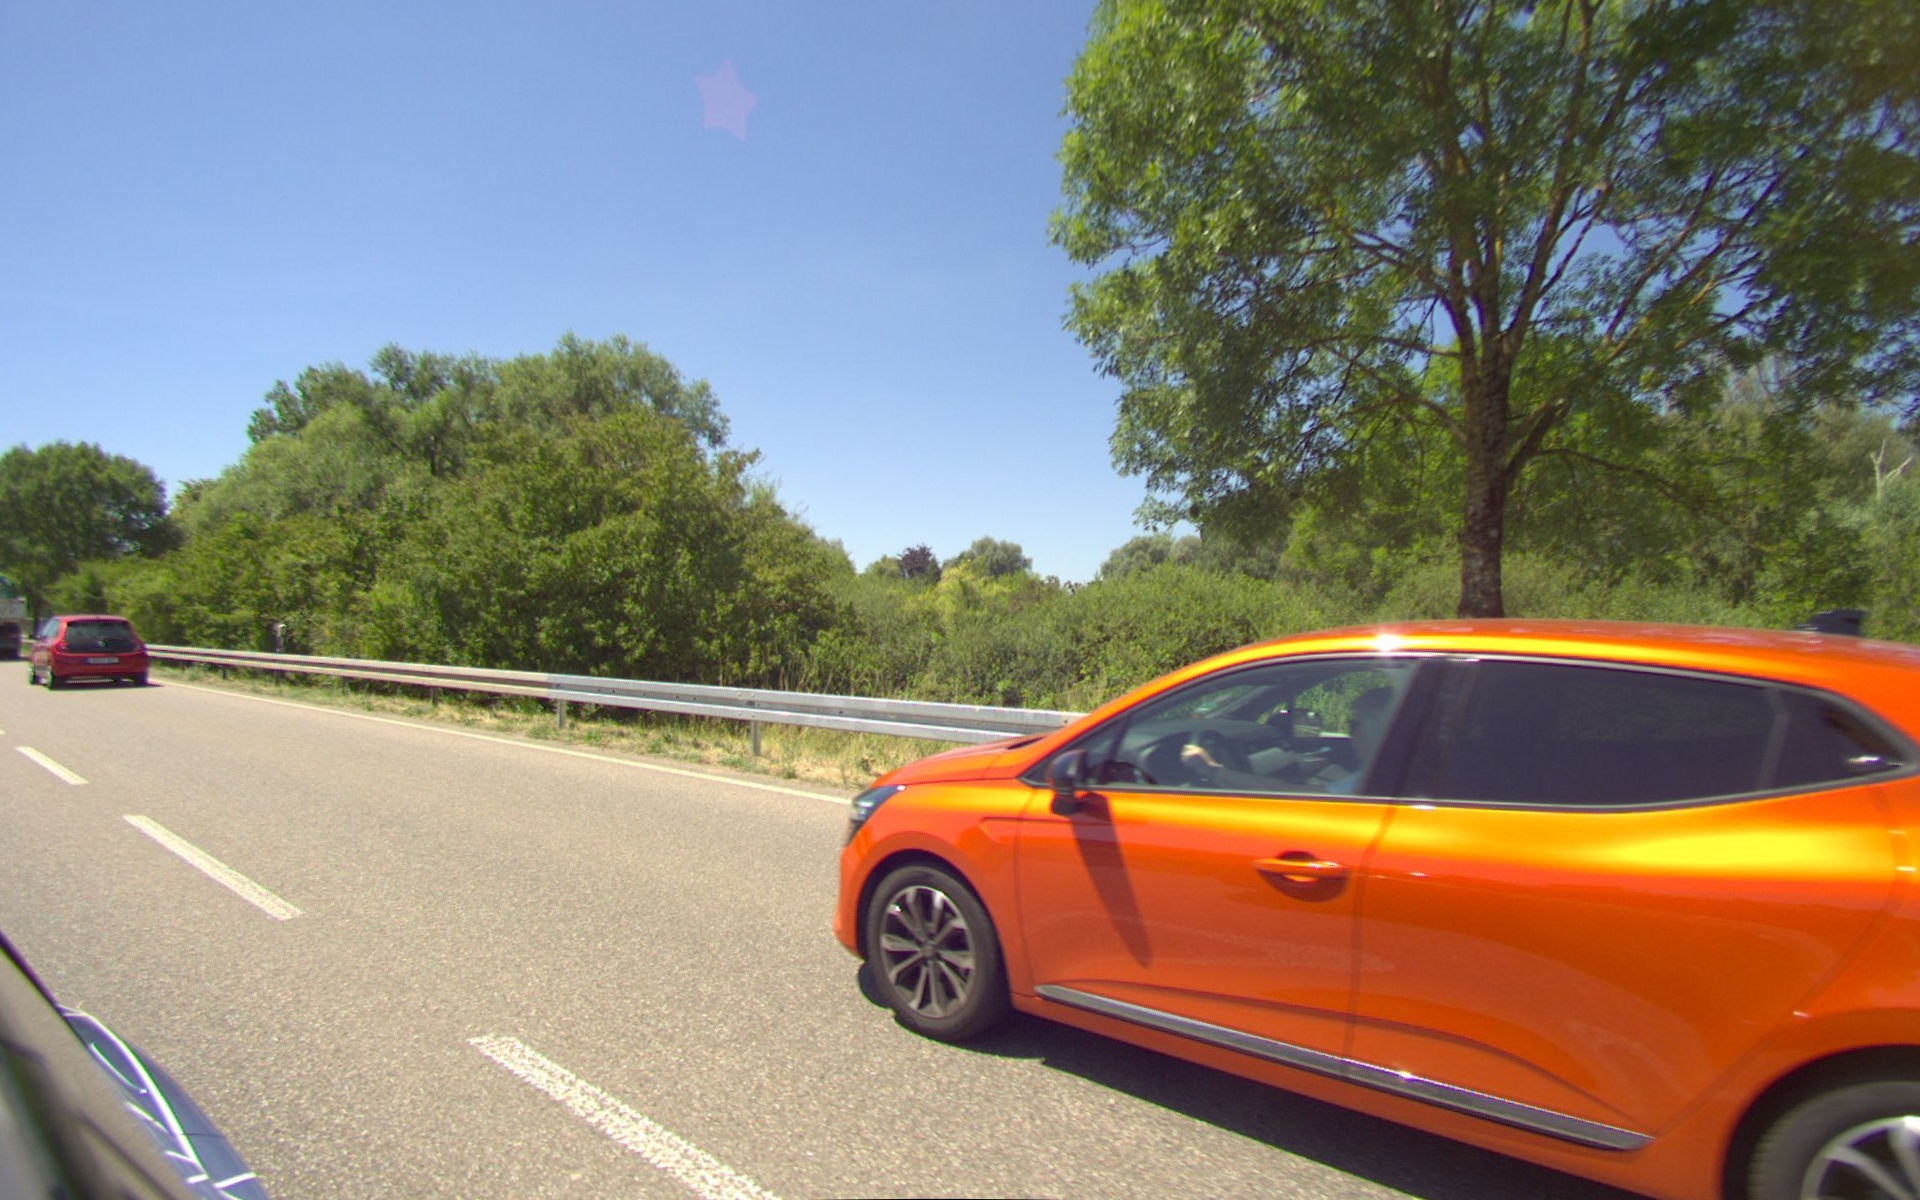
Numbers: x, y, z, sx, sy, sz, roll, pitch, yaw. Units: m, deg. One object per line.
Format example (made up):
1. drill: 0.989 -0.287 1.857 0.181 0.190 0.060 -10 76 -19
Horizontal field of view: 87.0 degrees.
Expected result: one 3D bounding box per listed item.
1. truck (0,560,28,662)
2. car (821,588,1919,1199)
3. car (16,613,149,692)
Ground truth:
1. truck: -35.841 0.444 36.229 7.984 3.431 2.755 -1 -1 41
2. car: 1.599 0.719 3.040 3.996 1.432 1.772 -1 -1 39
3. car: -19.219 1.091 22.113 3.997 1.564 1.636 -1 -1 41
